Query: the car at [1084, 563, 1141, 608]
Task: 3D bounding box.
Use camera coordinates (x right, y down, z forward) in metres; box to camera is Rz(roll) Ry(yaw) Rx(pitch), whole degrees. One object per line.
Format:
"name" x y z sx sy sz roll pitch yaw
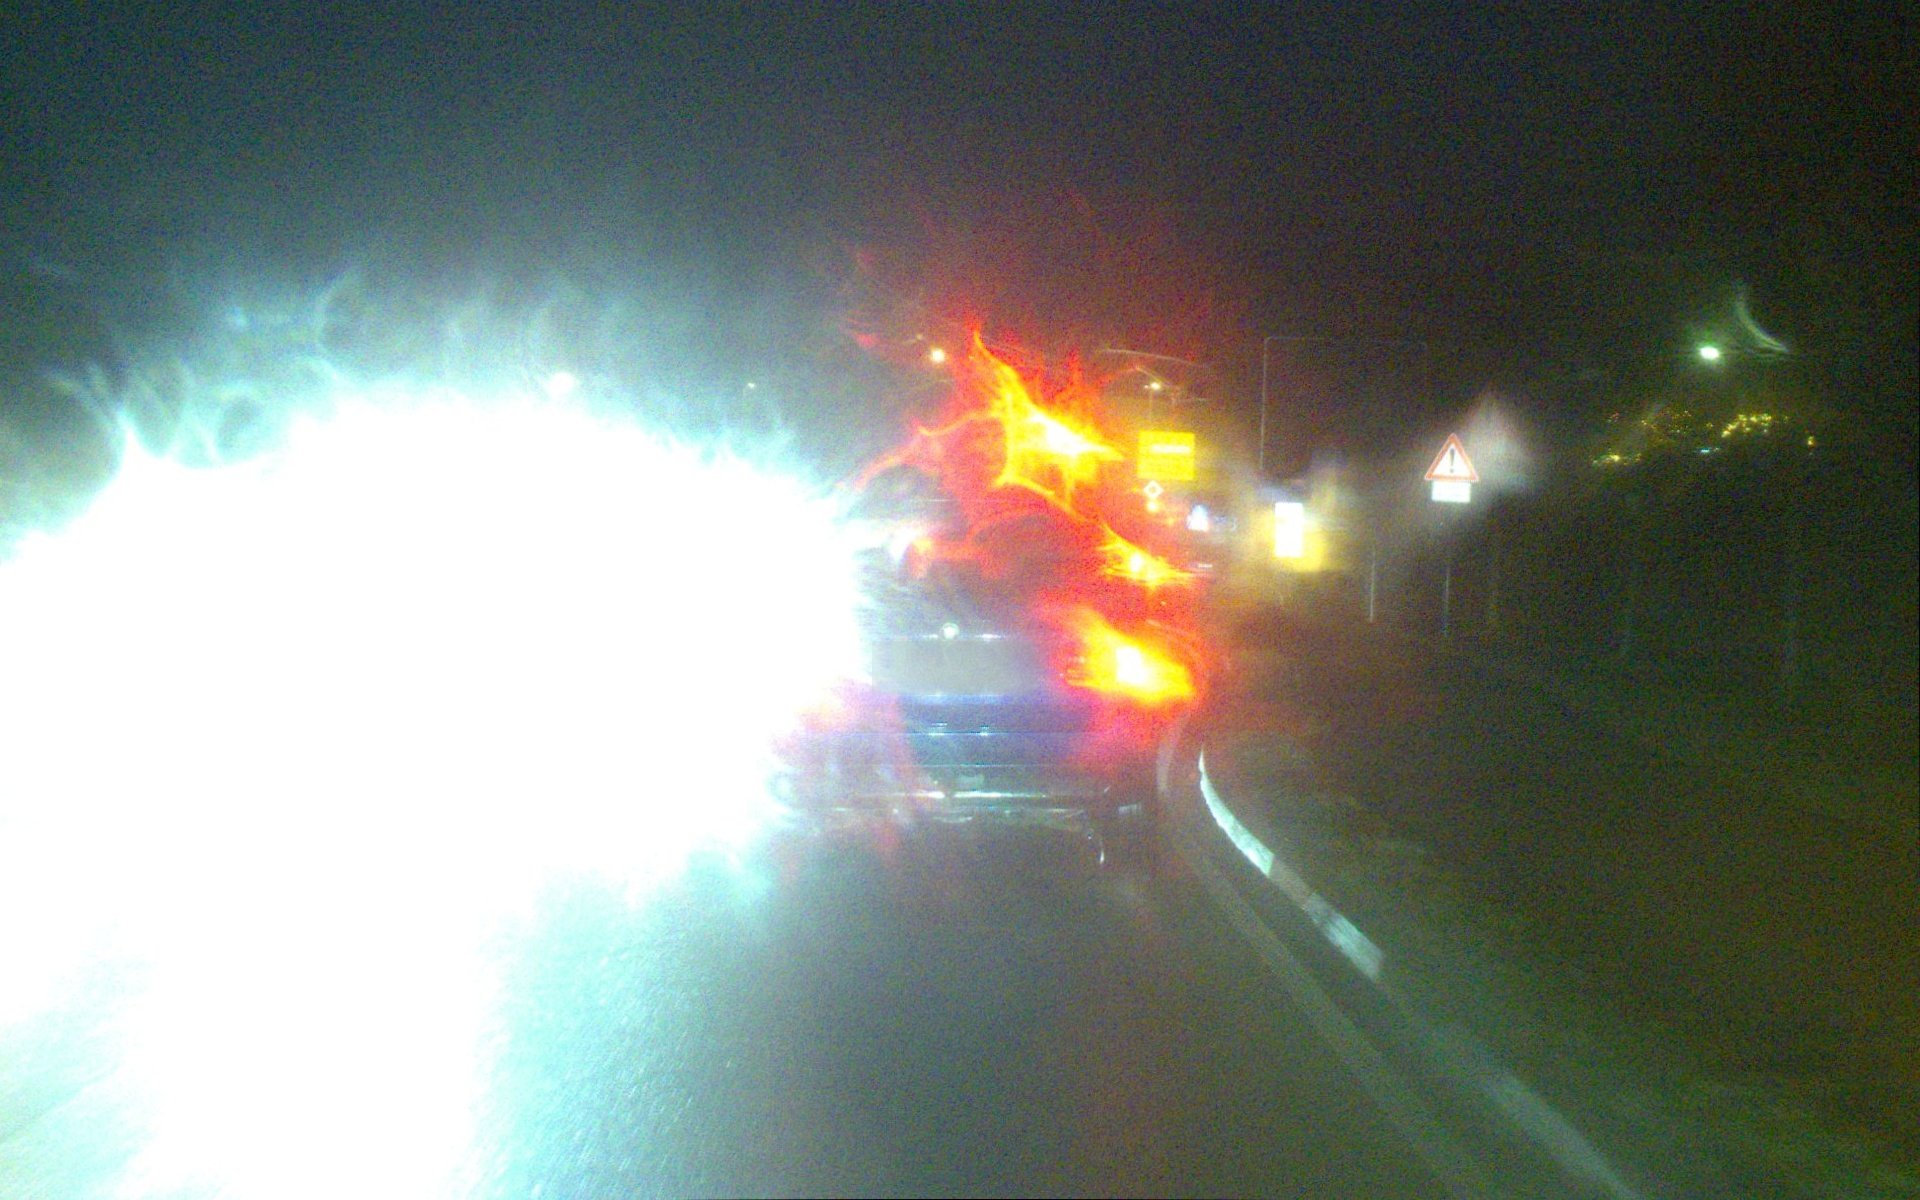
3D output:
"car" 5.114 -0.481 115.042 1.663 1.445 4.049 0 0 6

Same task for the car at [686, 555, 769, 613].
"car" -6.113 -0.442 90.768 1.918 1.439 4.546 1 1 -1

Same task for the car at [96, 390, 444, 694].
"car" -6.674 -0.580 34.044 2.122 2.698 6.241 1 1 0

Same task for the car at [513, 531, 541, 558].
"car" -31.510 -4.055 250.023 1.993 1.905 4.744 1 1 -7

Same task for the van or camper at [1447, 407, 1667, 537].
"van or camper" 13.913 -2.938 80.617 2.579 2.898 6.361 0 1 -16

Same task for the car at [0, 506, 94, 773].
"car" -6.544 0.220 20.379 1.720 1.583 4.312 1 1 0

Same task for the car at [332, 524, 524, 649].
"car" -6.887 -0.207 44.864 1.878 1.532 3.988 1 1 0

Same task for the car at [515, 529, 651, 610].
"car" -7.110 -0.603 65.334 2.077 1.444 4.992 1 1 -1

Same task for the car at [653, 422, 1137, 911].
"car" -0.265 0.227 16.146 1.942 1.965 4.218 1 1 0

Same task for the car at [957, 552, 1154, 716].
"car" 0.993 0.281 33.749 1.768 1.445 4.218 1 1 3
